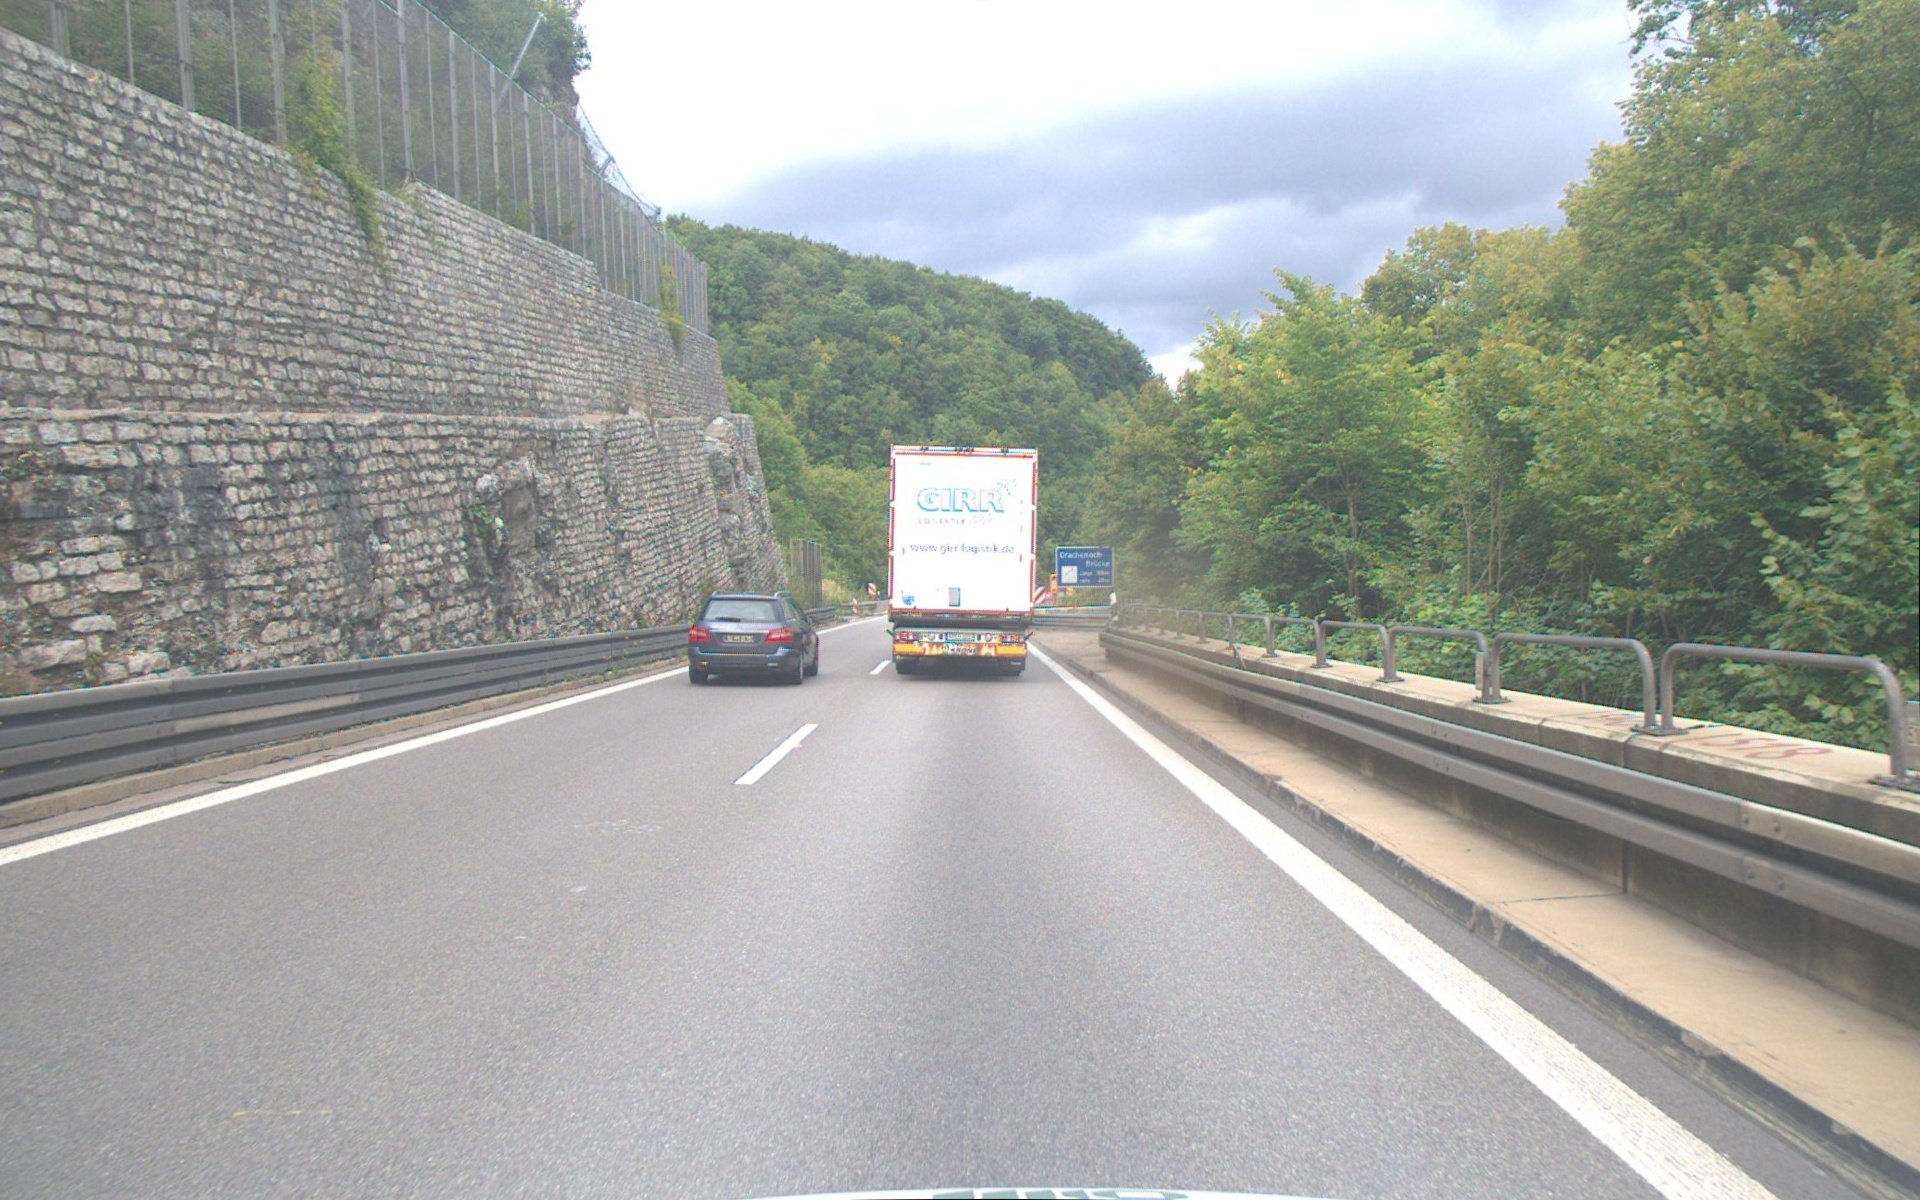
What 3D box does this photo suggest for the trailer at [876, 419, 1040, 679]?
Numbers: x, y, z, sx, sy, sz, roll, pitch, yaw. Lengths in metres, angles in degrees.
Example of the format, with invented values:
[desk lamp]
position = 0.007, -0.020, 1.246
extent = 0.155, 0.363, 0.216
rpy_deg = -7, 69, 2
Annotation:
[trailer]
position = 0.000, -0.820, 34.041
extent = 2.755, 4.378, 12.244
rpy_deg = 0, 0, 0

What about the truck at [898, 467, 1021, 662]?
[truck]
position = 0.003, -0.787, 40.525
extent = 2.755, 4.378, 6.258
rpy_deg = 0, 0, 0

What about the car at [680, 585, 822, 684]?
[car]
position = -3.427, 0.548, 27.869
extent = 1.845, 1.536, 4.418
rpy_deg = 0, 0, -1
